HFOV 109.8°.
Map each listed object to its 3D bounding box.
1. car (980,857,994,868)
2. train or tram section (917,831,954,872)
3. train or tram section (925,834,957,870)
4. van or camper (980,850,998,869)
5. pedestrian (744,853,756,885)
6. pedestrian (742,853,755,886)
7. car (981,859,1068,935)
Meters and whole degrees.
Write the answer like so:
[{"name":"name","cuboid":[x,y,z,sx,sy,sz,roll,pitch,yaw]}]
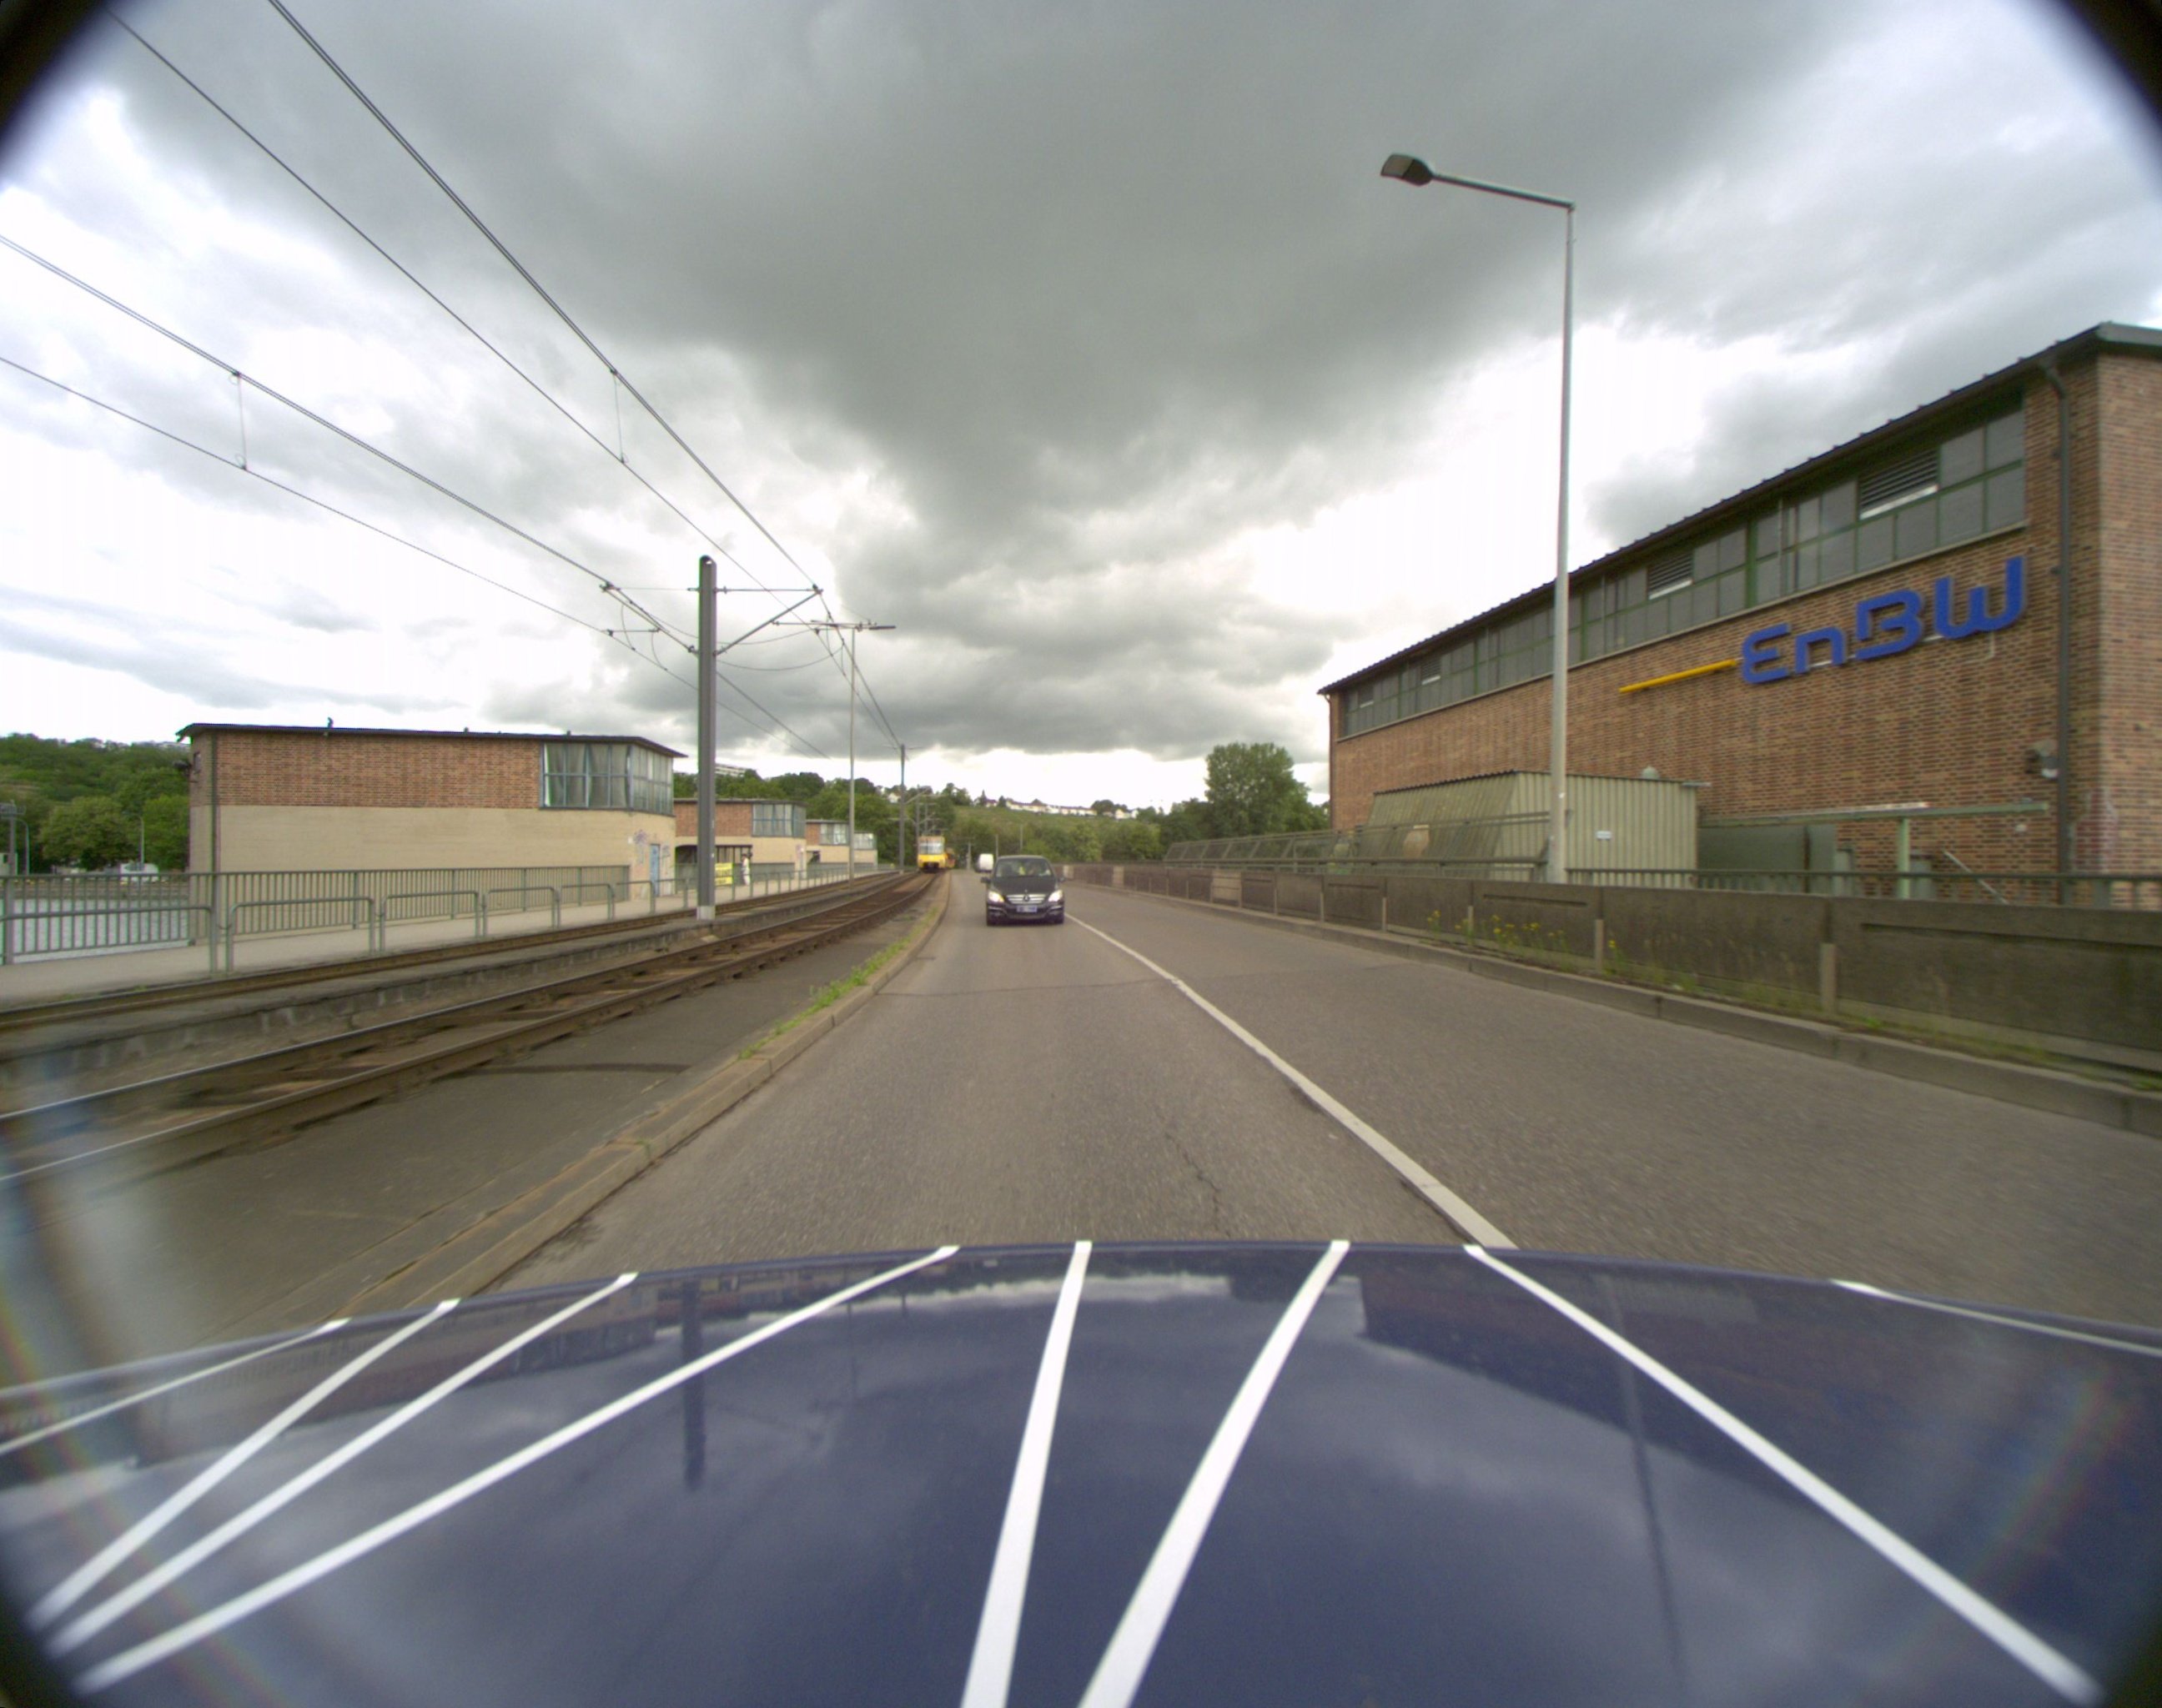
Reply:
[{"name":"car","cuboid":[-14.752,1.315,118.990,2.000,1.565,3.996,-2,1,-8]},{"name":"train or tram section","cuboid":[-14.751,-0.236,77.475,3.032,3.895,9.436,0,0,-7]},{"name":"train or tram section","cuboid":[-15.902,-0.254,86.856,3.032,3.895,9.436,0,0,-7]},{"name":"van or camper","cuboid":[-12.876,0.762,106.464,2.158,2.461,4.706,-1,0,-10]},{"name":"pedestrian","cuboid":[-17.026,0.778,39.071,0.512,1.655,0.352,0,1,-14]},{"name":"pedestrian","cuboid":[-16.934,0.769,38.694,0.512,1.655,0.352,0,1,-14]},{"name":"car","cuboid":[-1.456,0.937,18.302,1.862,1.612,3.998,0,-1,-7]}]
